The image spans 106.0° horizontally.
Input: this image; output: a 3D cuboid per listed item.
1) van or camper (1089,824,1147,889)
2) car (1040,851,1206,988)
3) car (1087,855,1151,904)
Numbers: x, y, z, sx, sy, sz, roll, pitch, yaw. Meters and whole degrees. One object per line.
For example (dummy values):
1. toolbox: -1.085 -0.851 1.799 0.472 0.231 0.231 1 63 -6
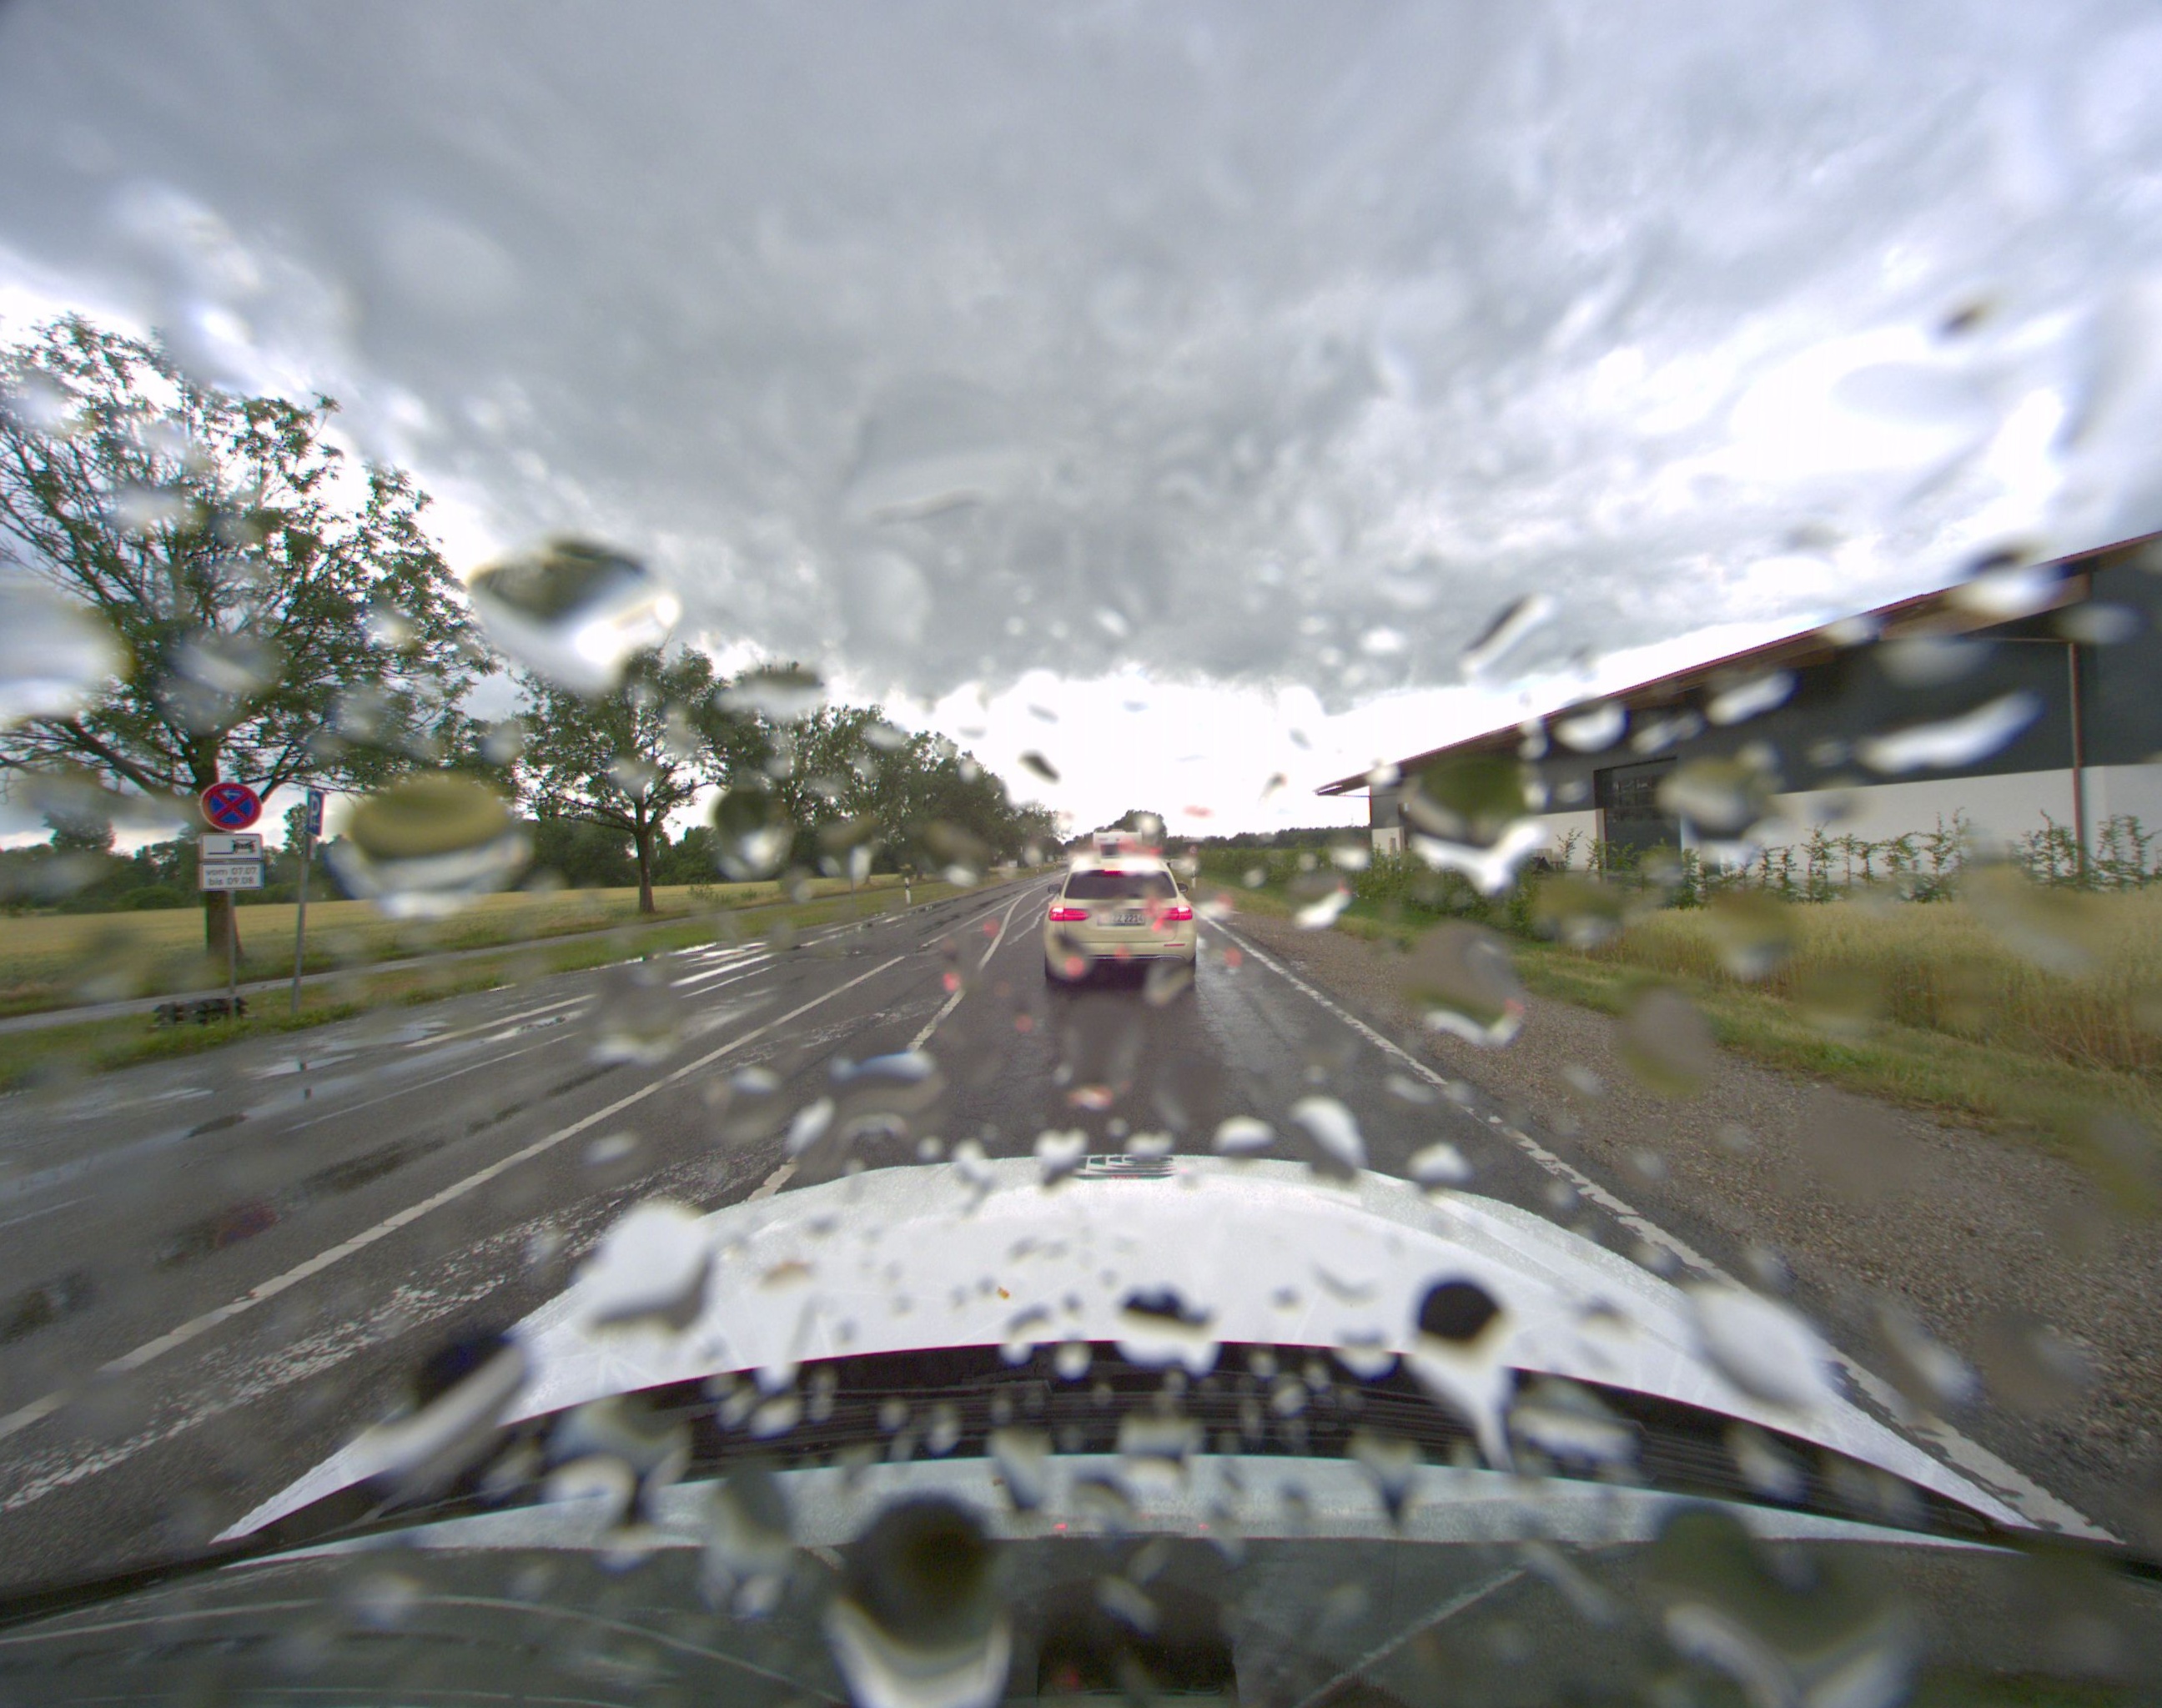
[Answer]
1. van or camper: 1.840 0.120 40.127 2.486 2.831 5.938 -3 0 3
2. car: 0.549 0.724 10.959 1.790 1.464 4.033 -1 0 3
3. car: 1.205 0.763 26.352 1.887 1.429 3.929 -1 0 2
